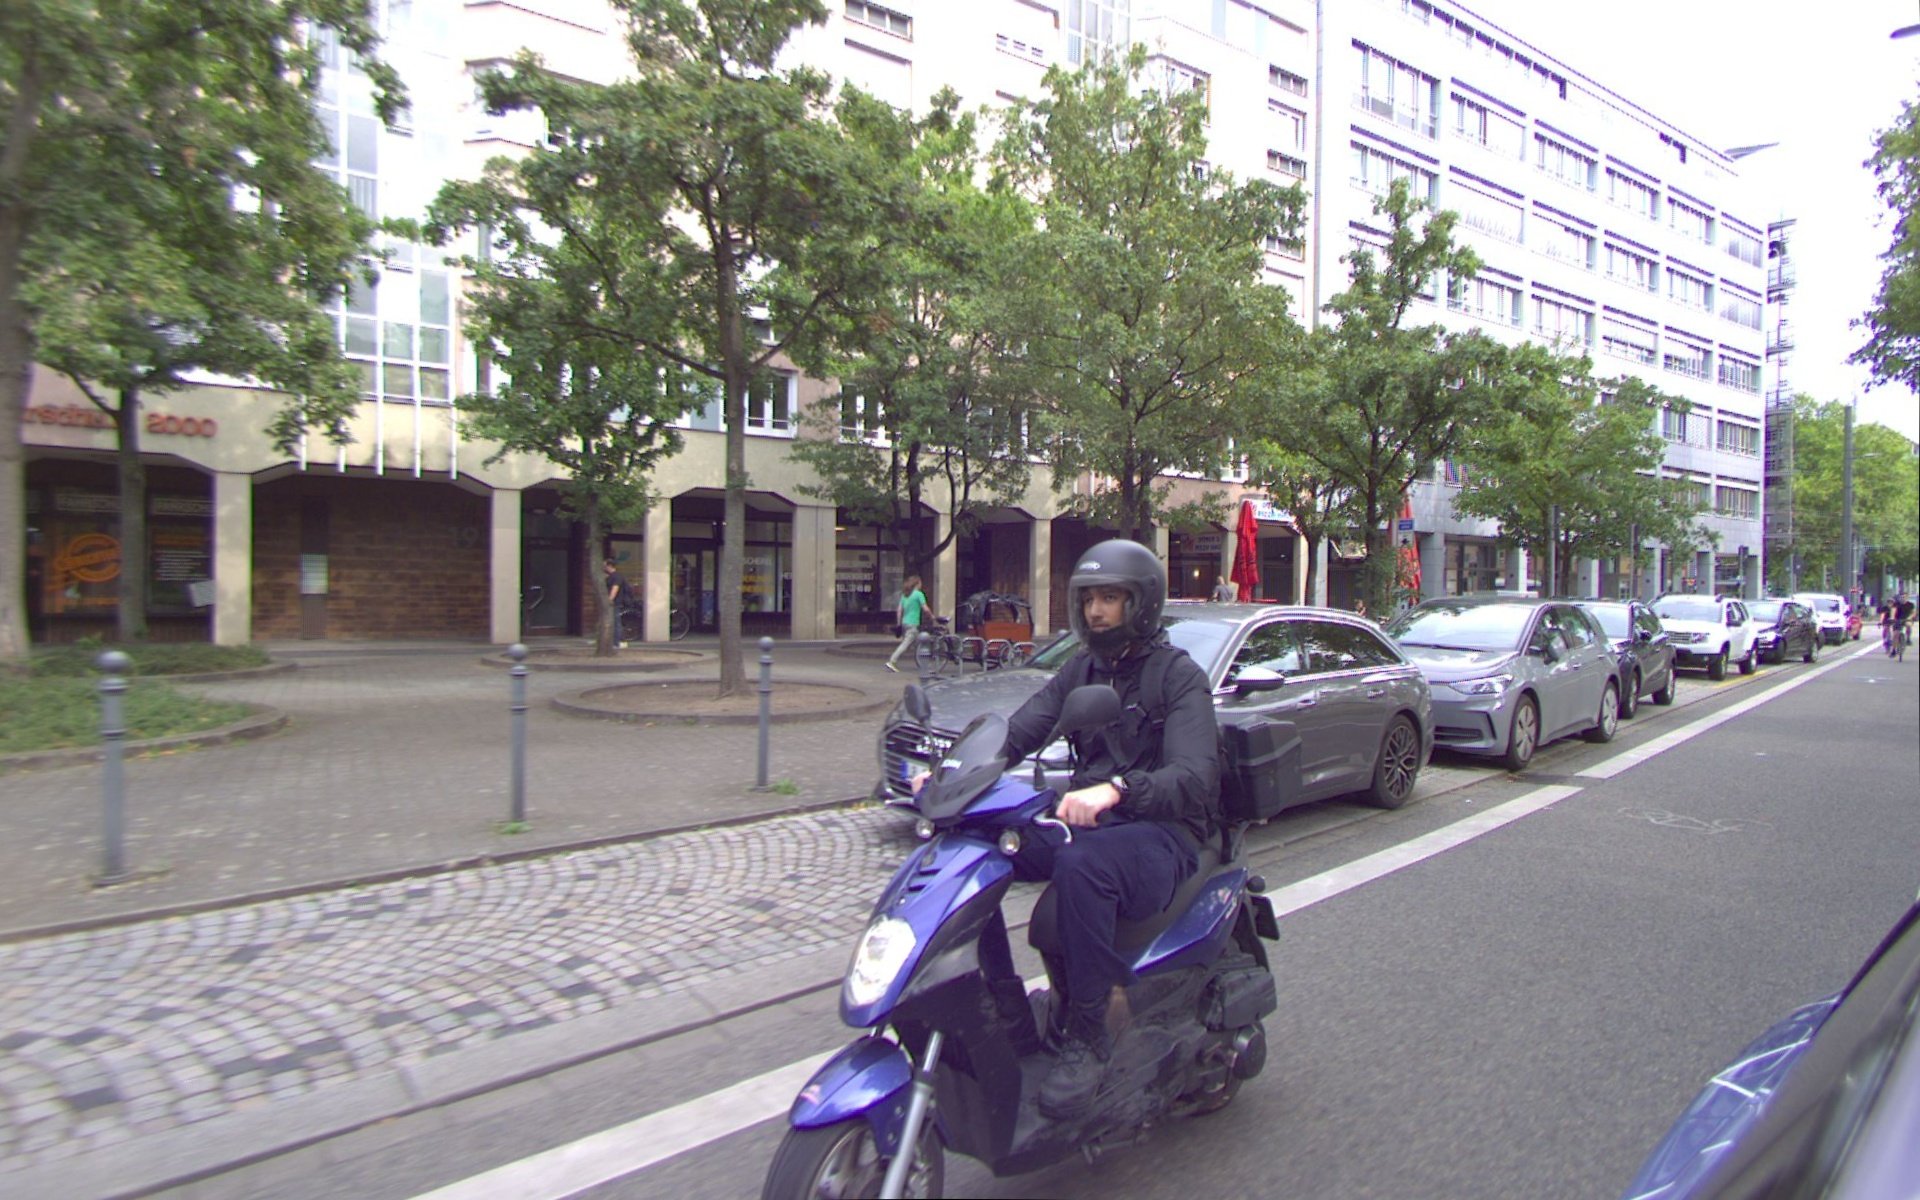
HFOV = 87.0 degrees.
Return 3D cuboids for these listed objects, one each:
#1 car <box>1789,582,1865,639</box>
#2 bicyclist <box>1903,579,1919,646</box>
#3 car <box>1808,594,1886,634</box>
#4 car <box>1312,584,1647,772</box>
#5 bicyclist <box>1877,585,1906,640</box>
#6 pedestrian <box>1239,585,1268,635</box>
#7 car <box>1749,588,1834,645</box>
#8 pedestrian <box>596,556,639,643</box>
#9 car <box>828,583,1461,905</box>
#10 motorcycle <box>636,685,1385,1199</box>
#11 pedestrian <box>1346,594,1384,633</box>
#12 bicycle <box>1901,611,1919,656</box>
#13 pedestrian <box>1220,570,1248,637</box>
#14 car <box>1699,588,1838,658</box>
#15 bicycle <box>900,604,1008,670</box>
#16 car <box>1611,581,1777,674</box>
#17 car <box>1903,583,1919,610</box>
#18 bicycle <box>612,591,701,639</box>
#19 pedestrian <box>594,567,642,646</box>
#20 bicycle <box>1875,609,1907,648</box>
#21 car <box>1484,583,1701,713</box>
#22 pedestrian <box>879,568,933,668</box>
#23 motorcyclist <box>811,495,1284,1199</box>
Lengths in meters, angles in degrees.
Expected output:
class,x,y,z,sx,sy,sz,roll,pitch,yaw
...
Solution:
class,x,y,z,sx,sy,sz,roll,pitch,yaw
car,32.026,0.354,37.337,1.827,1.887,4.575,4,2,43
bicyclist,25.732,0.333,27.119,1.018,1.790,0.590,1,1,-44
car,36.127,0.550,41.188,4.177,1.450,1.727,0,3,-40
car,5.589,0.650,10.622,4.327,1.538,1.742,0,2,-43
bicyclist,28.955,0.378,31.453,1.018,1.674,0.590,1,1,-44
pedestrian,7.143,0.238,24.624,0.447,1.191,0.518,1,0,-15
car,27.628,0.507,33.594,1.993,1.622,4.515,5,3,41
pedestrian,-6.748,-0.009,19.933,0.668,1.683,0.607,0,0,-34
car,1.521,0.662,6.931,4.585,1.460,1.820,0,2,-42
motorcycle,0.323,0.898,2.707,0.767,1.121,2.173,1,2,44
pedestrian,12.444,0.405,31.102,0.685,1.171,0.824,1,0,-32
bicycle,25.673,0.890,27.073,2.056,1.153,0.595,0,1,-44
pedestrian,6.603,0.083,24.405,0.470,1.589,0.518,1,0,-8
car,20.724,0.542,25.879,4.225,1.596,1.780,0,2,-38
bicycle,-0.078,0.579,16.649,1.826,1.025,0.487,0,0,-35
car,15.086,0.499,20.721,4.091,1.674,1.865,0,2,-41
car,89.724,-0.333,94.112,6.874,2.487,2.173,0,1,-41
bicycle,-6.740,0.324,22.497,1.826,1.025,0.487,0,0,-35
pedestrian,-6.970,0.118,20.612,0.783,1.575,0.713,1,1,-31
bicycle,28.977,0.858,31.492,1.706,1.153,0.595,0,1,-44
car,9.161,0.585,14.510,1.716,1.537,4.135,4,2,45
pedestrian,-0.899,0.286,16.791,0.668,1.606,0.607,0,0,-34
motorcyclist,0.248,0.547,2.626,0.759,1.538,1.001,1,1,44
